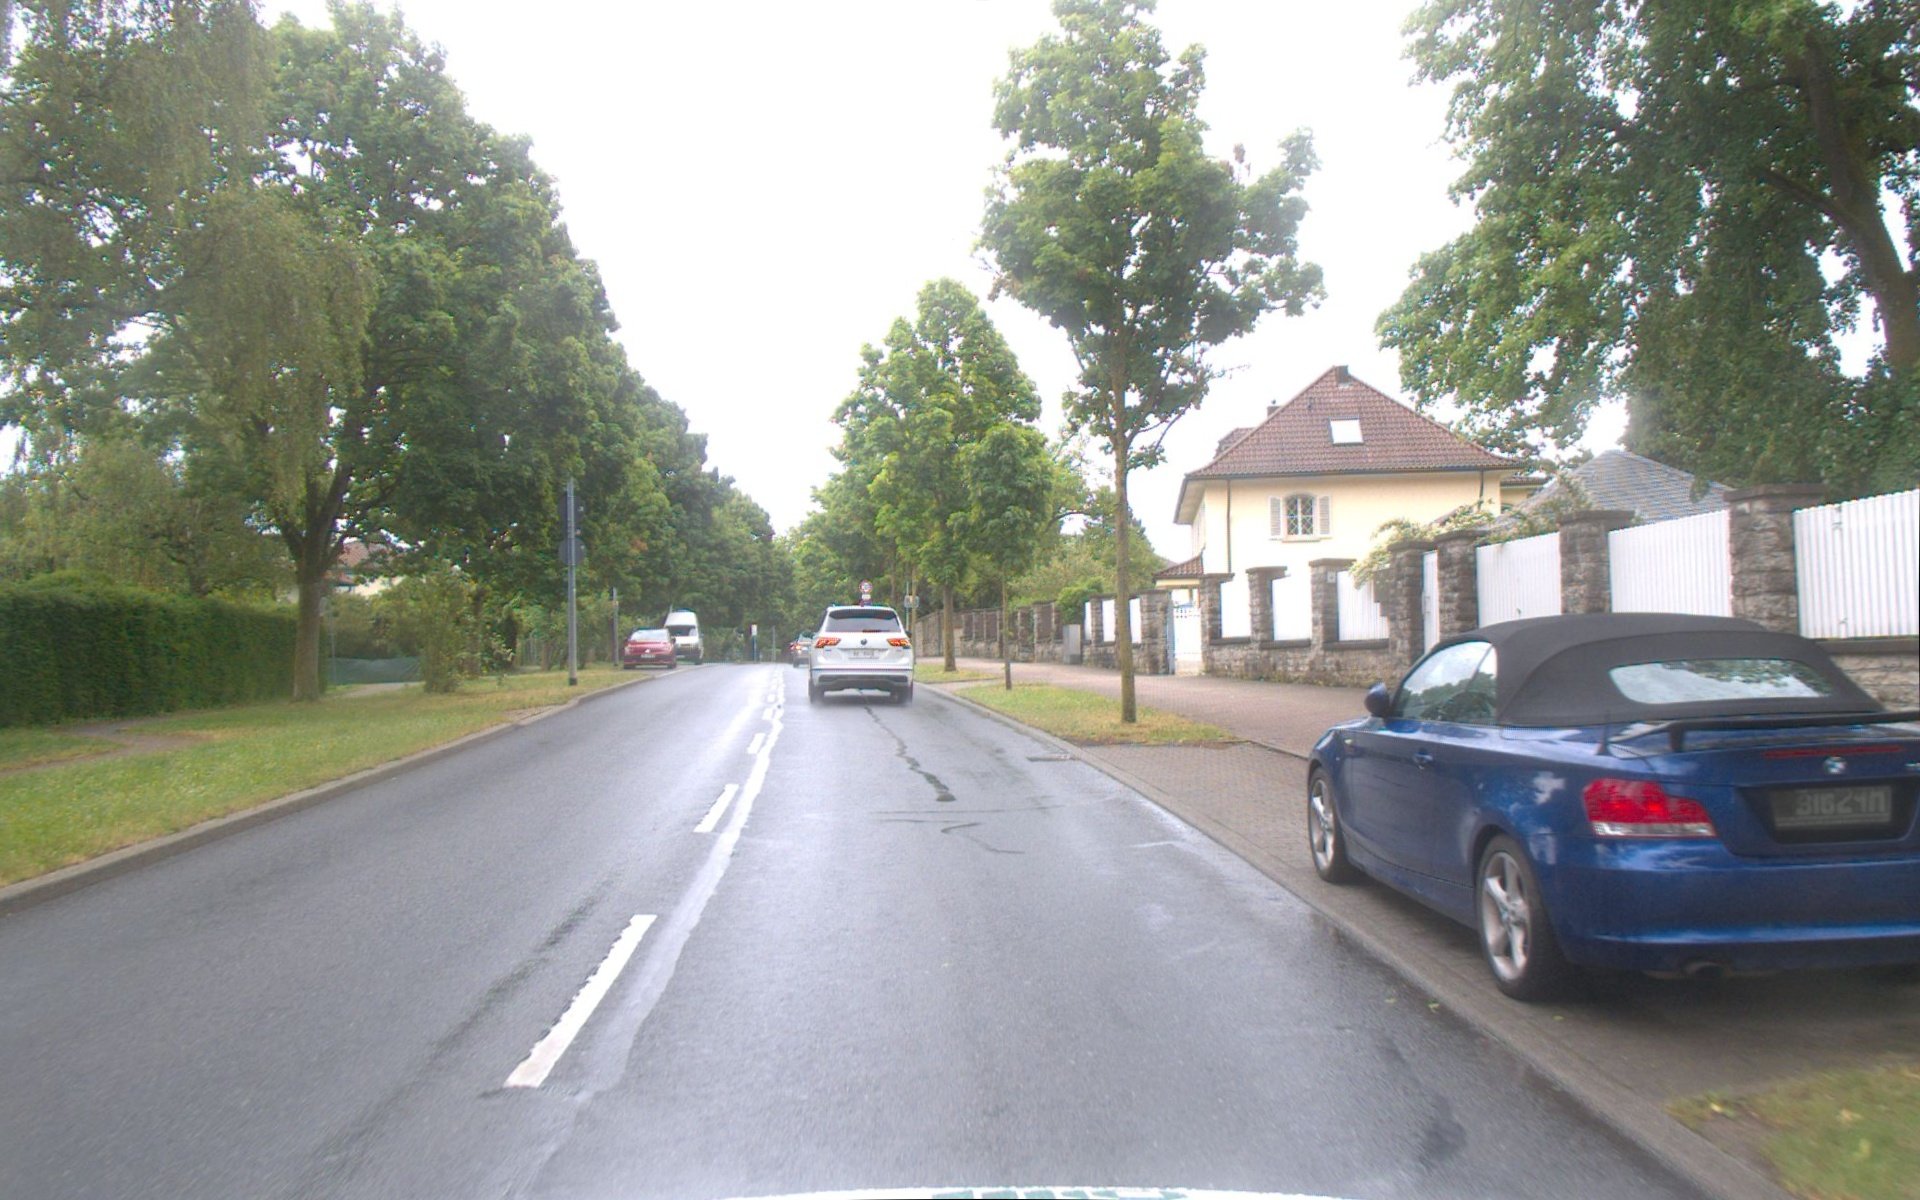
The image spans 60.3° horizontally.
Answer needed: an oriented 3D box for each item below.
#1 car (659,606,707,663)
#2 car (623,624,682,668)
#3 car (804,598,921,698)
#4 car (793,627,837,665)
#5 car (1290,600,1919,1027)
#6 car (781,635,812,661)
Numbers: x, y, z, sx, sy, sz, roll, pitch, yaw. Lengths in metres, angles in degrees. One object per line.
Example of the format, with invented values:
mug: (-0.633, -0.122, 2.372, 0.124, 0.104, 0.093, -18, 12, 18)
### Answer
car: (-13.125, 1.663, 78.525, 1.956, 2.606, 5.224, -1, -2, -7)
car: (-10.974, 1.649, 59.153, 1.808, 1.492, 4.242, 0, -2, -7)
car: (-1.812, 0.803, 29.708, 1.958, 1.660, 3.996, 0, 0, -5)
car: (-6.203, 1.942, 70.820, 1.804, 1.513, 3.996, 1, 0, -5)
car: (2.820, 0.762, 7.666, 1.609, 1.401, 3.827, -3, -1, -3)
car: (-9.809, 2.866, 99.477, 1.816, 1.443, 4.221, 1, 0, -5)
